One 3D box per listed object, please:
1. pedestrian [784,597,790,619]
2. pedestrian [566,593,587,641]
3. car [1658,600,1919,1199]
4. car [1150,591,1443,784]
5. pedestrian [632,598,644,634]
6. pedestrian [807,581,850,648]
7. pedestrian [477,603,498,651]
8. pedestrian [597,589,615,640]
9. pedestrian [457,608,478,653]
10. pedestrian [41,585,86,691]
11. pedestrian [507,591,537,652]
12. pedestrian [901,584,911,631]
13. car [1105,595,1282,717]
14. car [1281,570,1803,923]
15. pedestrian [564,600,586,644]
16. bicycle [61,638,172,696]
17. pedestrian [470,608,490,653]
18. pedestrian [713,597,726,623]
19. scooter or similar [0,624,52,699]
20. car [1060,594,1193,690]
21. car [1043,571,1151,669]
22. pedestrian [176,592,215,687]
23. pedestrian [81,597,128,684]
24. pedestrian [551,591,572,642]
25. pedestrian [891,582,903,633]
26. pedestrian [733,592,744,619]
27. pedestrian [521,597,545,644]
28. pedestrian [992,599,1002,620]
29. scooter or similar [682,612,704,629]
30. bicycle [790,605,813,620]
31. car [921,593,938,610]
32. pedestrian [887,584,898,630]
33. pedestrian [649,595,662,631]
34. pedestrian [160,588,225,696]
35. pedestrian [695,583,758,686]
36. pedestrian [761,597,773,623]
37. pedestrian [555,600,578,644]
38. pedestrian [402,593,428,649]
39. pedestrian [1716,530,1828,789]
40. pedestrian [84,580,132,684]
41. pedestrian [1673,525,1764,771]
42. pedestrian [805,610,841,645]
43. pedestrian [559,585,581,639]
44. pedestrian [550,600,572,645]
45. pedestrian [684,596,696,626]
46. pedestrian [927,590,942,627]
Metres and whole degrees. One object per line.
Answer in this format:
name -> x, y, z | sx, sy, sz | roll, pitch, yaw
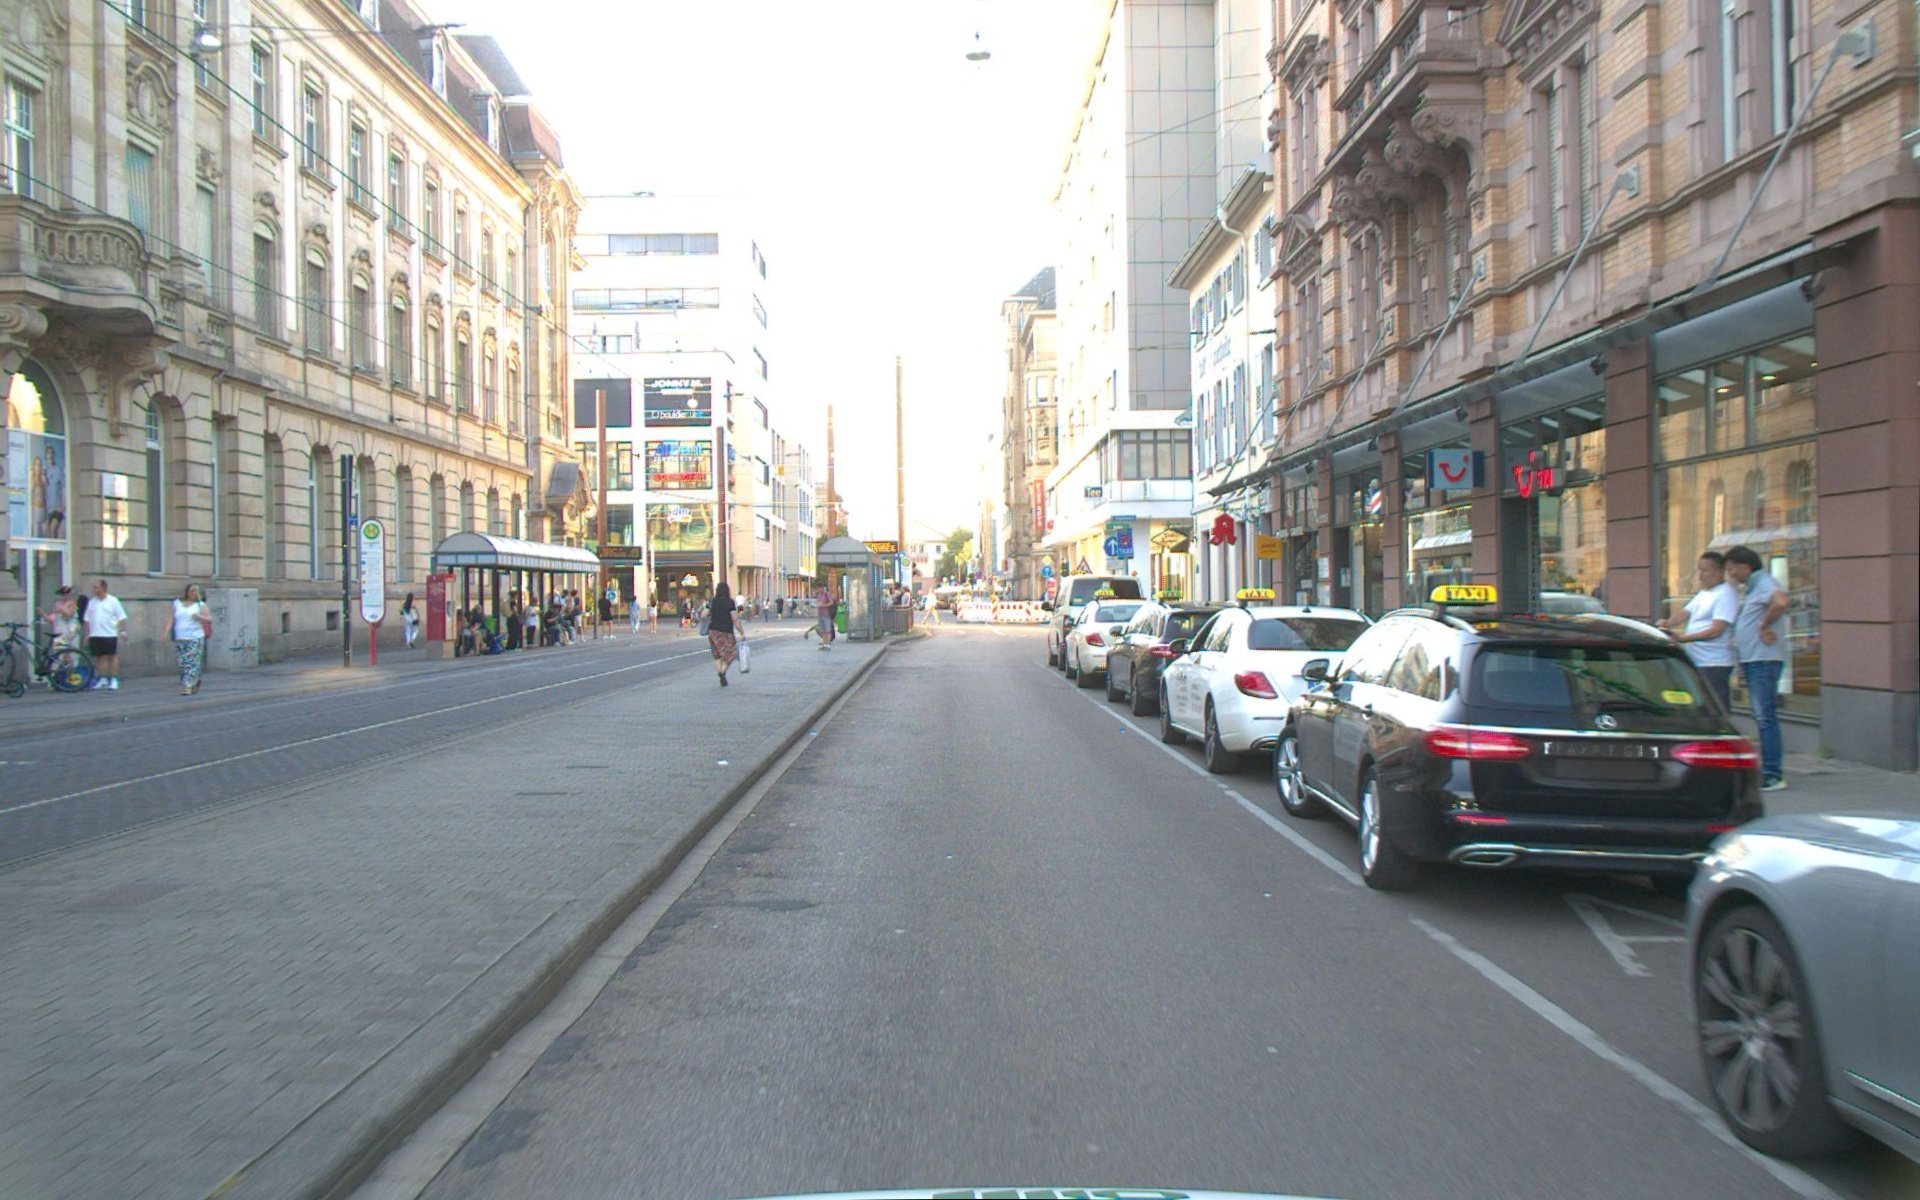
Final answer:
pedestrian -> -12.136, 0.562, 115.917 | 0.382, 1.541, 0.505 | -1, 0, -2
pedestrian -> -12.821, 0.564, 55.302 | 0.507, 1.597, 0.638 | -1, -1, 3
car -> 3.193, 0.750, 3.036 | 1.769, 1.501, 4.692 | 0, 0, -1
car -> 3.036, 0.733, 15.957 | 1.697, 1.537, 4.863 | 1, 0, -2
pedestrian -> -13.743, 0.687, 70.563 | 0.509, 1.552, 0.500 | 0, 0, -12
pedestrian -> -3.281, 0.354, 41.383 | 0.675, 1.666, 0.857 | -1, 0, 40
pedestrian -> -12.148, 0.694, 42.528 | 0.357, 1.221, 0.430 | 0, -1, 5
pedestrian -> -12.499, 0.514, 58.416 | 0.548, 1.807, 0.468 | 0, 0, -5
pedestrian -> -12.238, 0.754, 41.095 | 0.357, 1.122, 0.430 | 0, -1, 5
pedestrian -> -14.350, 0.603, 26.470 | 0.328, 1.671, 0.606 | 0, -1, 6
pedestrian -> -12.157, 0.586, 45.893 | 0.507, 1.679, 0.638 | -1, -1, 21
pedestrian -> -2.080, 0.285, 63.779 | 0.335, 1.827, 0.544 | 0, -1, -3
car -> 3.120, 0.716, 22.991 | 1.691, 1.503, 4.819 | 0, 0, -1
car -> 3.128, 0.692, 9.889 | 1.697, 1.618, 4.443 | 0, 0, 2
pedestrian -> -12.163, 0.692, 52.253 | 0.507, 1.350, 0.638 | -1, -1, 3
bicycle -> -13.396, 1.061, 26.278 | 1.542, 0.889, 0.451 | 0, -1, 4
pedestrian -> -12.093, 0.759, 41.683 | 0.357, 1.122, 0.430 | 0, -1, 5
pedestrian -> -13.462, 0.557, 92.641 | 0.625, 1.445, 0.418 | -1, 0, 1
scooter or similar -> -14.267, 0.898, 24.394 | 1.514, 1.087, 0.451 | 0, -1, 4
car -> 2.875, 0.687, 29.504 | 1.769, 1.509, 4.777 | 1, 0, -1
car -> 2.924, 0.420, 36.105 | 1.838, 1.957, 4.698 | 1, 0, -1
pedestrian -> -13.317, 0.683, 28.812 | 0.562, 1.633, 0.437 | 0, -1, 45
pedestrian -> -14.555, 0.687, 28.134 | 0.432, 1.465, 0.570 | 0, -1, 35
pedestrian -> -13.150, 0.539, 54.529 | 0.507, 1.674, 0.638 | -1, -1, 3
pedestrian -> -2.222, 0.258, 57.944 | 0.404, 1.798, 0.594 | 0, -1, -3
pedestrian -> -15.838, 0.403, 118.180 | 0.560, 1.887, 0.817 | 0, -1, 11
pedestrian -> -12.405, 0.598, 48.018 | 0.507, 1.350, 0.638 | -1, -1, 3
pedestrian -> 2.883, 0.722, 128.233 | 0.697, 1.639, 0.821 | 0, -1, -4
scooter or similar -> -14.952, 1.144, 92.605 | 1.071, 0.920, 0.890 | -1, 0, 0
bicycle -> -11.837, 0.939, 123.870 | 1.661, 1.141, 0.451 | 0, -1, 1
car -> -3.588, 0.171, 191.774 | 1.953, 1.937, 3.999 | 0, 0, -2
pedestrian -> -2.488, 0.263, 60.950 | 0.378, 1.671, 0.549 | 0, -1, -3
pedestrian -> -13.027, 0.549, 70.670 | 0.517, 1.552, 0.500 | 0, 0, -15
pedestrian -> -11.440, 0.617, 24.673 | 0.646, 1.589, 0.679 | -1, 0, -1
pedestrian -> -3.519, 0.508, 24.974 | 0.829, 1.527, 0.901 | -1, 0, -1
pedestrian -> -12.907, 0.673, 110.739 | 0.635, 1.703, 0.530 | -1, 0, 7
pedestrian -> -12.223, 0.686, 51.381 | 0.507, 1.350, 0.638 | -1, -1, 3
pedestrian -> -15.779, 0.609, 47.899 | 0.648, 1.589, 0.677 | 0, 0, -15
pedestrian -> 5.839, 0.415, 11.919 | 0.365, 1.799, 0.663 | -3, 0, -5
pedestrian -> -13.899, 0.521, 26.989 | 0.466, 1.671, 0.562 | 0, -1, -1
pedestrian -> 5.689, 0.351, 12.419 | 0.365, 1.799, 0.455 | -3, 0, -5
pedestrian -> -3.843, 0.761, 46.404 | 0.781, 0.955, 0.693 | 0, 0, 22
pedestrian -> -12.514, 0.385, 53.119 | 0.663, 1.721, 0.635 | 0, -1, -15
pedestrian -> -12.210, 0.681, 50.613 | 0.507, 1.350, 0.638 | -1, -1, 3
pedestrian -> -14.715, 0.591, 90.095 | 0.558, 1.621, 0.448 | -1, 0, -3
pedestrian -> -1.246, 0.411, 81.905 | 0.685, 1.847, 0.852 | 0, 0, 2
